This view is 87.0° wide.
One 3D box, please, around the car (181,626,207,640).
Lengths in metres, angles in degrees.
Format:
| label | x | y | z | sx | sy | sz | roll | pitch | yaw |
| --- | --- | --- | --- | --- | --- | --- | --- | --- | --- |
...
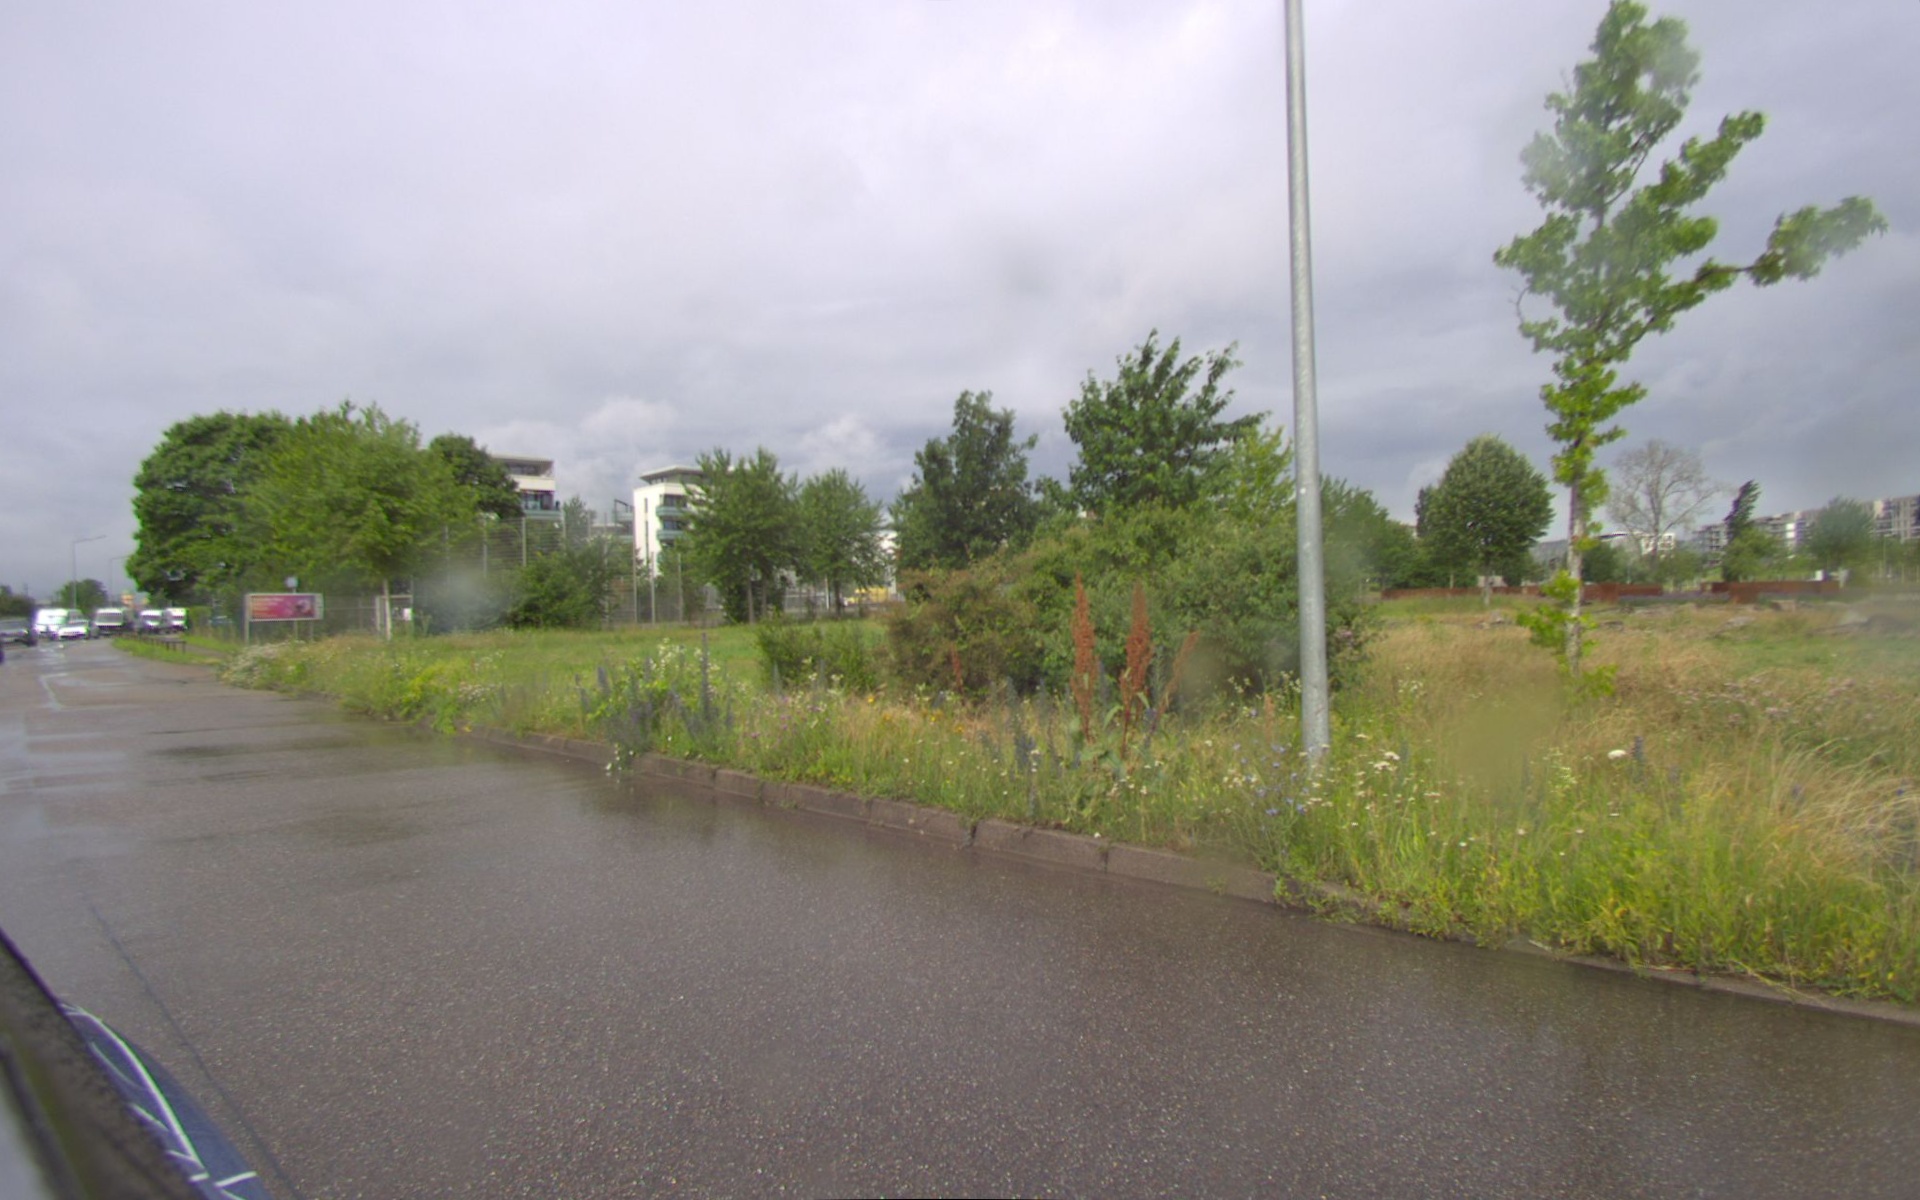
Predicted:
| label | x | y | z | sx | sy | sz | roll | pitch | yaw |
| --- | --- | --- | --- | --- | --- | --- | --- | --- | --- |
| car | -86.448 | 3.711 | 114.238 | 1.811 | 1.530 | 4.370 | -1 | 0 | -30 |

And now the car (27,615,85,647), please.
| label | x | y | z | sx | sy | sz | roll | pitch | yaw |
| --- | --- | --- | --- | --- | --- | --- | --- | --- | --- |
| car | -72.868 | 2.470 | 81.671 | 2.062 | 2.491 | 5.966 | 0 | -1 | -28 |

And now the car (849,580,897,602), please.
| label | x | y | z | sx | sy | sz | roll | pitch | yaw |
| --- | --- | --- | --- | --- | --- | --- | --- | --- | --- |
| car | -11.728 | -1.172 | 136.749 | 6.538 | 2.633 | 1.970 | -4 | 2 | -40 |

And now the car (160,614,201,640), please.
| label | x | y | z | sx | sy | sz | roll | pitch | yaw |
| --- | --- | --- | --- | --- | --- | --- | --- | --- | --- |
| car | -93.365 | 3.248 | 121.379 | 2.436 | 2.978 | 6.909 | 0 | -1 | -25 |

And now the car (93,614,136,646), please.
| label | x | y | z | sx | sy | sz | roll | pitch | yaw |
| --- | --- | --- | --- | --- | --- | --- | --- | --- | --- |
| car | -81.018 | 2.843 | 96.993 | 2.114 | 2.905 | 5.292 | 2 | -2 | -29 |

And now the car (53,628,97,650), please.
| label | x | y | z | sx | sy | sz | roll | pitch | yaw |
| --- | --- | --- | --- | --- | --- | --- | --- | --- | --- |
| car | -67.029 | 2.899 | 76.684 | 1.812 | 1.530 | 4.370 | -1 | 0 | -32 |

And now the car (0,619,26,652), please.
| label | x | y | z | sx | sy | sz | roll | pitch | yaw |
| --- | --- | --- | --- | --- | --- | --- | --- | --- | --- |
| car | -54.450 | 2.045 | 57.412 | 1.982 | 1.718 | 4.332 | -5 | 2 | -44 |

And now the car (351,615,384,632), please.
| label | x | y | z | sx | sy | sz | roll | pitch | yaw |
| --- | --- | --- | --- | --- | --- | --- | --- | --- | --- |
| car | -55.585 | 2.173 | 94.880 | 4.131 | 1.406 | 1.664 | -1 | 2 | 45 |

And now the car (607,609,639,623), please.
| label | x | y | z | sx | sy | sz | roll | pitch | yaw |
| --- | --- | --- | --- | --- | --- | --- | --- | --- | --- |
| car | -37.240 | 1.724 | 111.657 | 4.187 | 1.406 | 1.620 | -1 | 2 | 45 |

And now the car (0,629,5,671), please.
| label | x | y | z | sx | sy | sz | roll | pitch | yaw |
| --- | --- | --- | --- | --- | --- | --- | --- | --- | --- |
| car | -36.984 | 1.836 | 37.762 | 1.847 | 1.531 | 4.361 | 4 | -4 | -43 |

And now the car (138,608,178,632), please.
| label | x | y | z | sx | sy | sz | roll | pitch | yaw |
| --- | --- | --- | --- | --- | --- | --- | --- | --- | --- |
| car | -87.879 | 2.172 | 110.982 | 2.039 | 2.548 | 6.679 | 0 | -2 | -26 |
